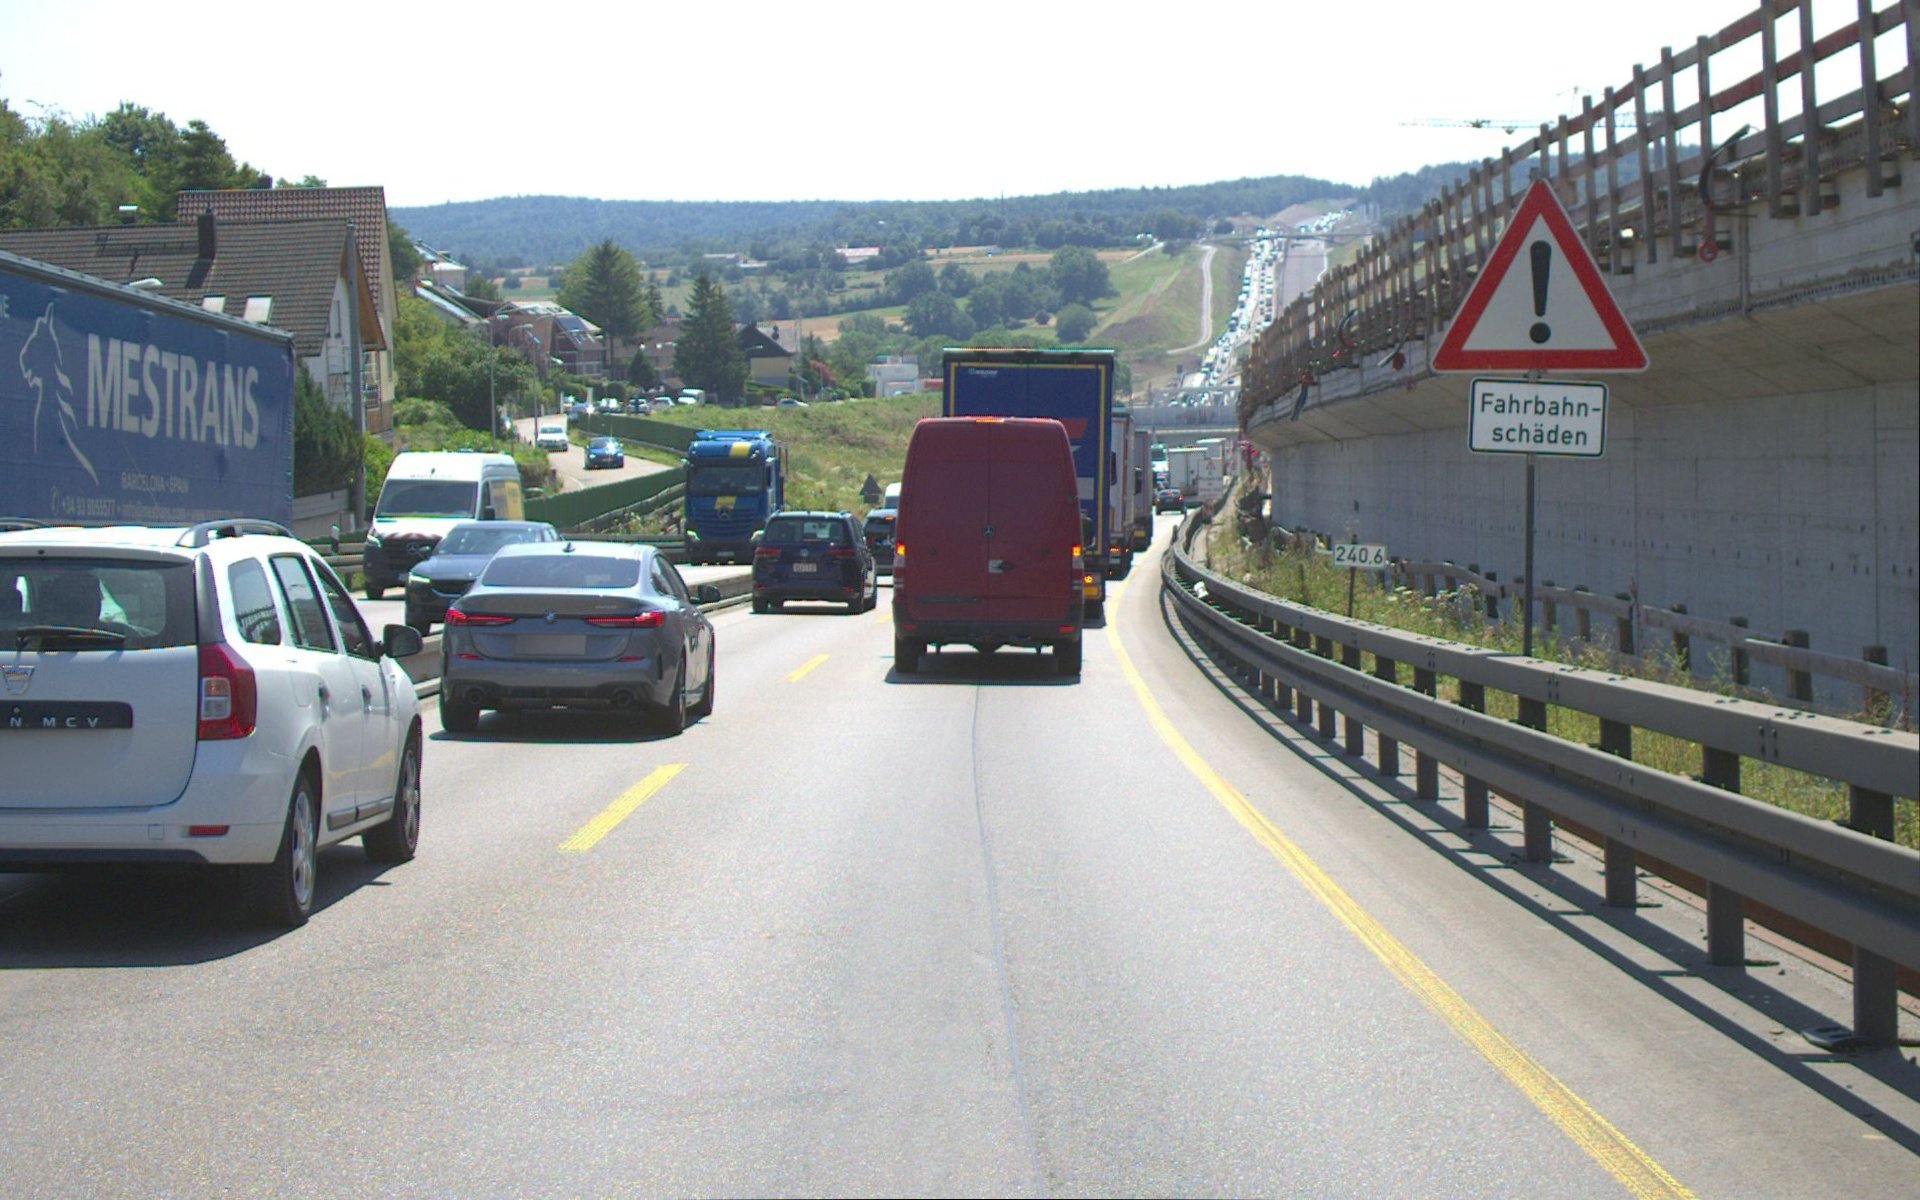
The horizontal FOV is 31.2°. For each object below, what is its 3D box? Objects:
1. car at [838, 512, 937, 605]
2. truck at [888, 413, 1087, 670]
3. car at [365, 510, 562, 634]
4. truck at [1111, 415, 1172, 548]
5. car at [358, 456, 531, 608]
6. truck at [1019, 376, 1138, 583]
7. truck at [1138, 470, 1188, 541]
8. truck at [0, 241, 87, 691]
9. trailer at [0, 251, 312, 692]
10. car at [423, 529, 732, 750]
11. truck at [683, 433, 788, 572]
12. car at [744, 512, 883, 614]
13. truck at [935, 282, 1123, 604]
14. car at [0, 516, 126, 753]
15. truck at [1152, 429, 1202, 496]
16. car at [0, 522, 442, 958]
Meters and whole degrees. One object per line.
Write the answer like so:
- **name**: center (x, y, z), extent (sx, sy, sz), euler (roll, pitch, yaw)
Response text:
- **car**: center (-1.436, -0.812, 69.507), extent (1.729, 1.832, 4.000), euler (0, 0, 3)
- **truck**: center (0.311, -0.581, 36.377), extent (1.993, 2.570, 4.000), euler (0, 0, 1)
- **car**: center (-6.430, -0.406, 44.951), extent (1.850, 1.541, 4.559), euler (0, 1, 1)
- **truck**: center (6.195, -3.977, 116.844), extent (1.994, 4.366, 3.999), euler (0, 0, 4)
- **car**: center (-9.188, -1.240, 61.728), extent (2.005, 2.594, 5.979), euler (0, 1, 2)
- **truck**: center (2.974, -2.848, 85.534), extent (2.786, 4.799, 9.684), euler (0, 0, 2)
- **truck**: center (13.063, -6.022, 220.623), extent (3.069, 4.366, 8.555), euler (0, 0, 4)
- **truck**: center (-10.286, -1.195, 30.260), extent (3.135, 4.065, 6.879), euler (0, 1, 3)
- **trailer**: center (-9.975, -1.320, 37.645), extent (3.135, 4.065, 11.819), euler (0, 1, 2)
- **car**: center (-2.850, 0.272, 26.450), extent (1.795, 1.480, 4.049), euler (3, 0, 1)
- **truck**: center (-6.607, -2.843, 101.765), extent (2.509, 3.951, 5.174), euler (0, 0, 3)
- **car**: center (-2.349, -0.582, 55.963), extent (1.810, 1.602, 3.718), euler (0, 0, 5)
- **truck**: center (1.210, -2.334, 56.014), extent (2.786, 4.799, 9.684), euler (0, 0, 2)
- **car**: center (-7.015, 0.211, 22.997), extent (1.671, 1.530, 4.190), euler (0, 1, 3)
- **truck**: center (15.318, -9.633, 242.201), extent (3.468, 4.366, 8.555), euler (0, 0, 4)
- **car**: center (-3.296, 0.486, 14.073), extent (1.651, 1.478, 4.266), euler (-2, 0, 0)
